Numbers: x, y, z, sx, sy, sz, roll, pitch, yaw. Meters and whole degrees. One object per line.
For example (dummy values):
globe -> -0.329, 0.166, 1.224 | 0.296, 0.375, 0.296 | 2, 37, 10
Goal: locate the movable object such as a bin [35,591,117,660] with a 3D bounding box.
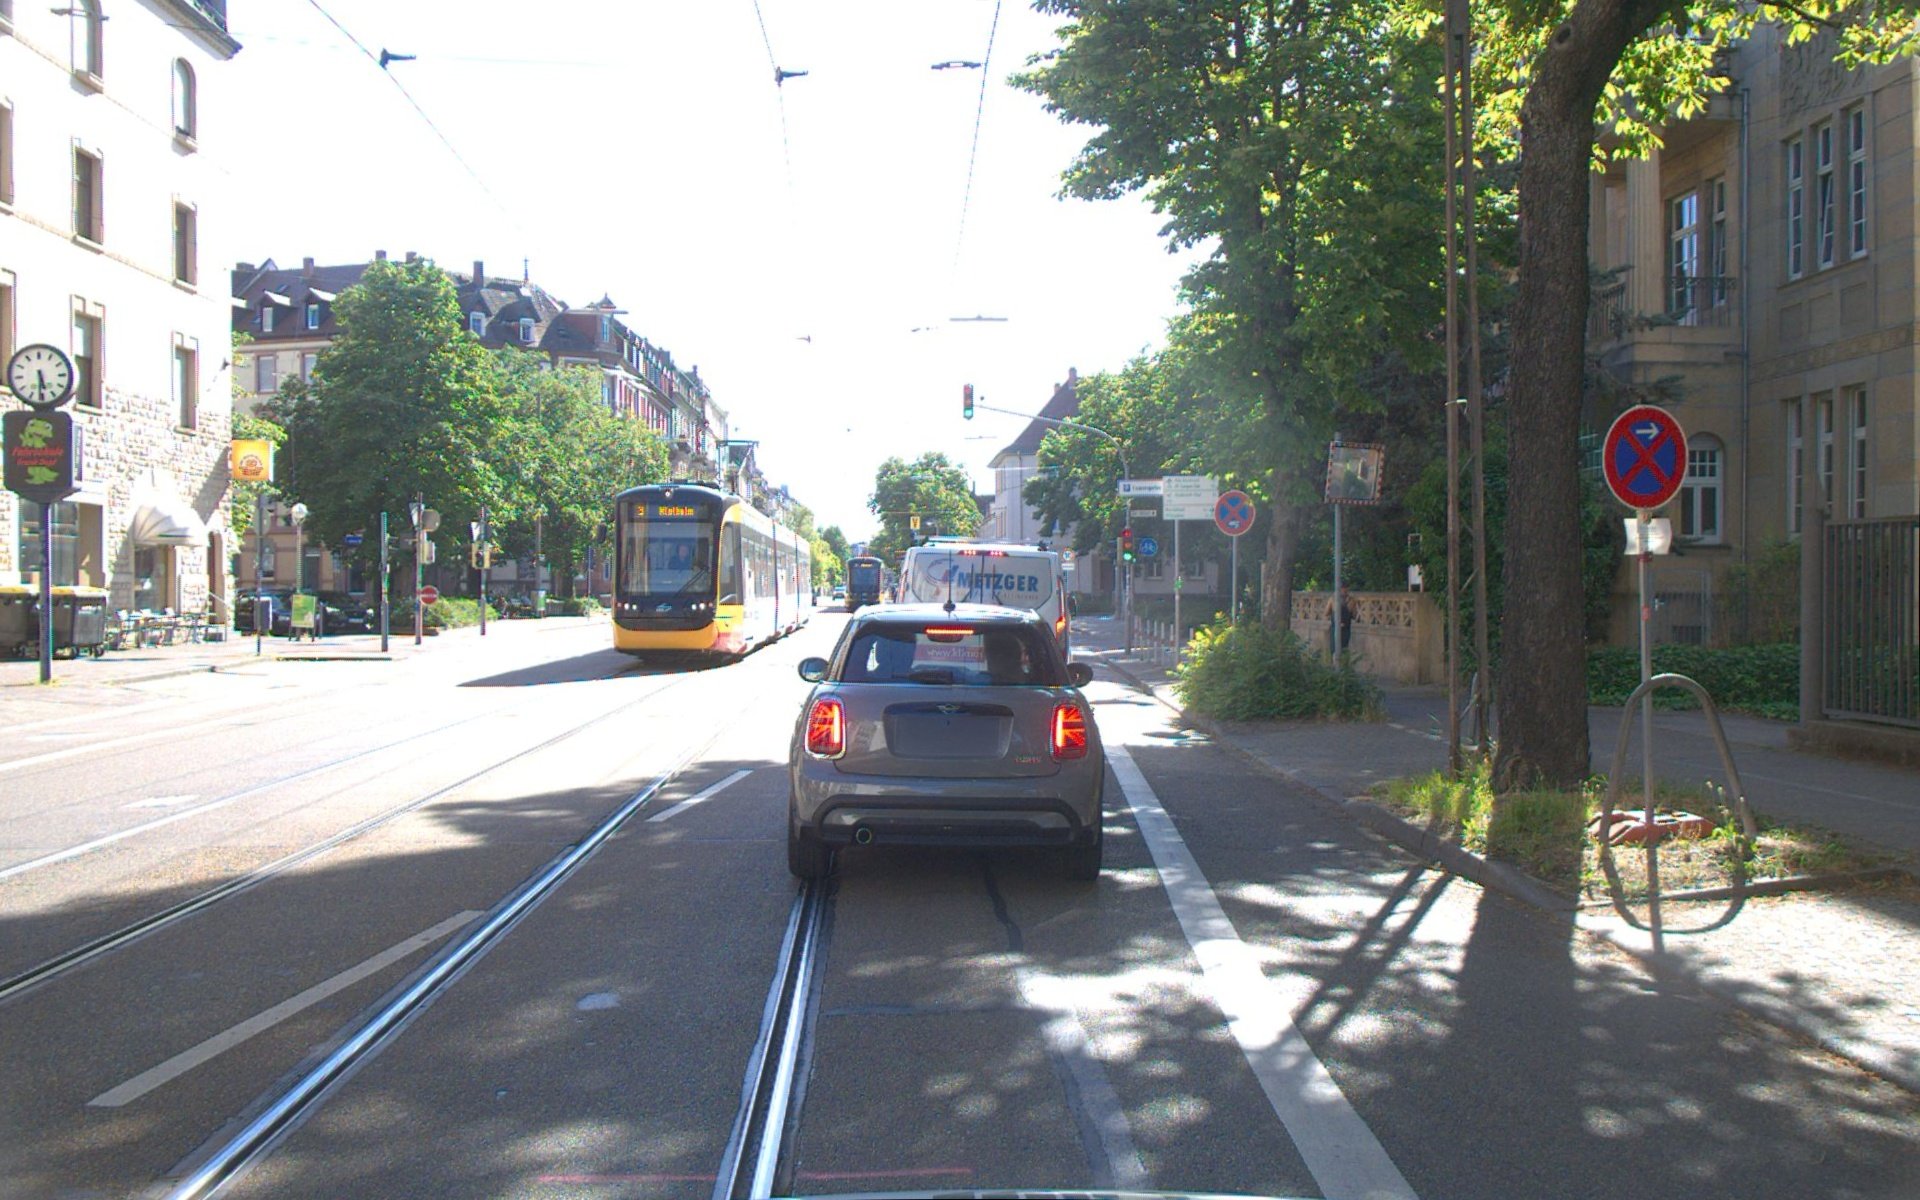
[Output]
movable object such as a bin -> -17.105, 0.487, 32.024 | 0.925, 1.296, 1.144 | 1, 0, 3

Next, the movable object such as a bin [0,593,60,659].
movable object such as a bin -> -18.005, 0.486, 31.683 | 0.815, 1.244, 1.244 | 1, 0, 1

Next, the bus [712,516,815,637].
bus -> -6.837, -0.730, 59.110 | 2.793, 3.843, 12.189 | 1, 0, -3

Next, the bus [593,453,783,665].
bus -> -5.618, -0.726, 36.186 | 2.803, 3.843, 11.490 | 1, 0, -3

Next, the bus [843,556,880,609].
bus -> -6.901, -1.188, 115.510 | 2.339, 3.557, 7.376 | 1, 0, -5

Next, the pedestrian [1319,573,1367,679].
pedestrian -> 6.290, 0.419, 27.156 | 0.580, 1.700, 0.646 | -2, 0, -1

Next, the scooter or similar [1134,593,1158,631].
scooter or similar -> 6.607, 0.425, 58.913 | 0.662, 1.333, 1.328 | 1, 0, -2

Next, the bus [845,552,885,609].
bus -> -6.276, -1.227, 108.139 | 2.339, 3.557, 7.376 | 1, 0, -5

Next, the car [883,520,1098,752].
car -> 0.268, 0.363, 18.689 | 2.075, 2.247, 4.943 | 1, 0, -1

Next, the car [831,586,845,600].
car -> -14.997, -0.878, 203.203 | 1.741, 1.646, 3.996 | 1, 0, -4

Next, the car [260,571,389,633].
car -> -21.625, 0.059, 56.282 | 3.910, 2.049, 1.997 | 1, 0, 28

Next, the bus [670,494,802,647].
bus -> -6.202, -0.728, 47.523 | 2.803, 3.843, 11.176 | 1, 0, -3

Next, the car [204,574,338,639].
car -> -22.573, 0.210, 54.191 | 3.910, 2.049, 1.997 | 1, 0, 28

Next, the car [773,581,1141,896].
car -> -0.040, 0.688, 10.093 | 1.778, 1.514, 3.999 | 1, 0, -1

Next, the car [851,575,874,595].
car -> -8.317, -1.242, 140.744 | 1.827, 1.591, 3.996 | 1, 0, -4
